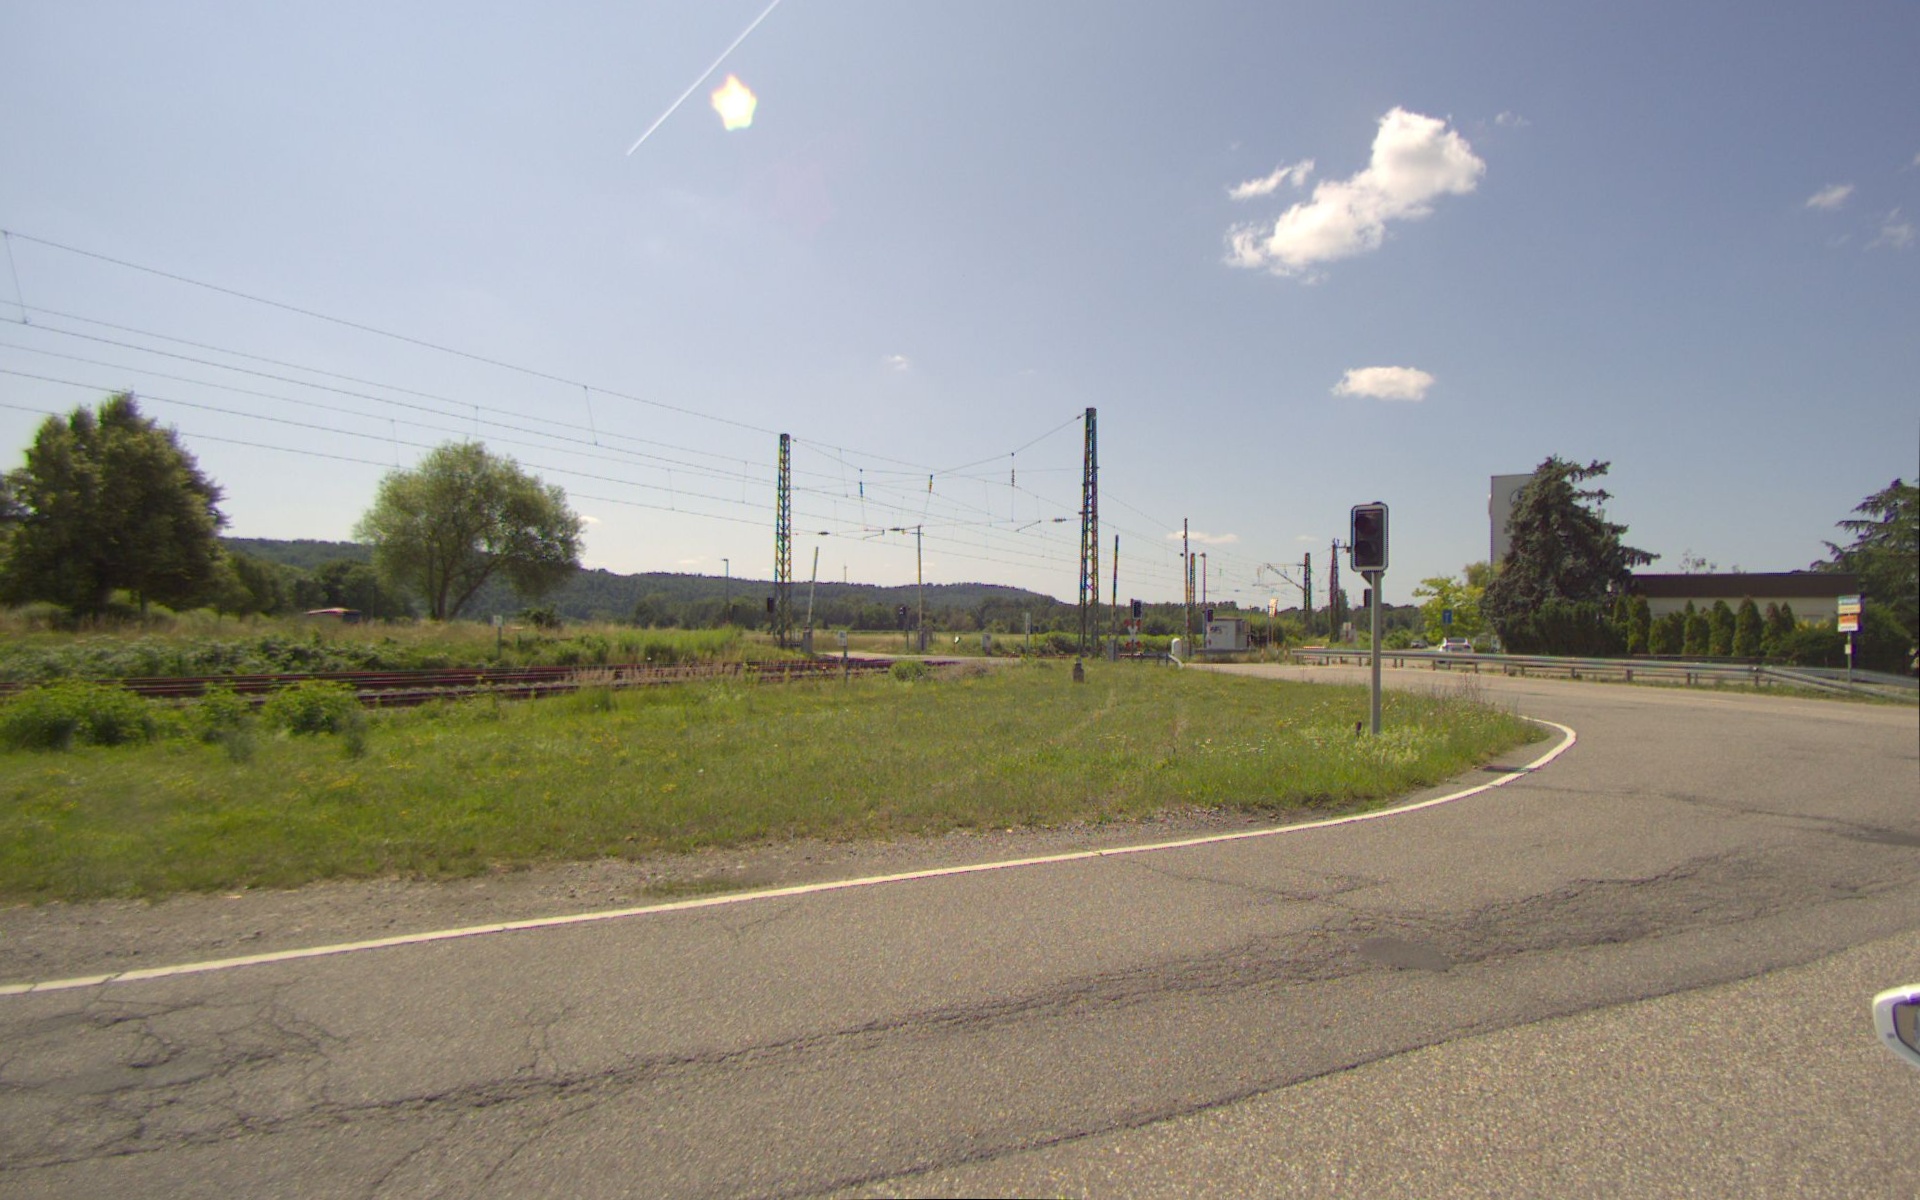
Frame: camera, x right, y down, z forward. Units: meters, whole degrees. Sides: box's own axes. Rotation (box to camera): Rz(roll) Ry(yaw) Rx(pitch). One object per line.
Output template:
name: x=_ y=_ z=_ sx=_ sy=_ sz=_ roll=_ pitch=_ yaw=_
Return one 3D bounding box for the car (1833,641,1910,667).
car: x=59.867 y=3.535 z=66.038 sx=3.470 sy=1.606 sz=1.564 roll=0 pitch=-1 yaw=27

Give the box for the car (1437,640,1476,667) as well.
car: x=30.750 y=3.298 z=62.319 sx=1.962 sy=1.530 sz=4.452 roll=0 pitch=-2 yaw=24
